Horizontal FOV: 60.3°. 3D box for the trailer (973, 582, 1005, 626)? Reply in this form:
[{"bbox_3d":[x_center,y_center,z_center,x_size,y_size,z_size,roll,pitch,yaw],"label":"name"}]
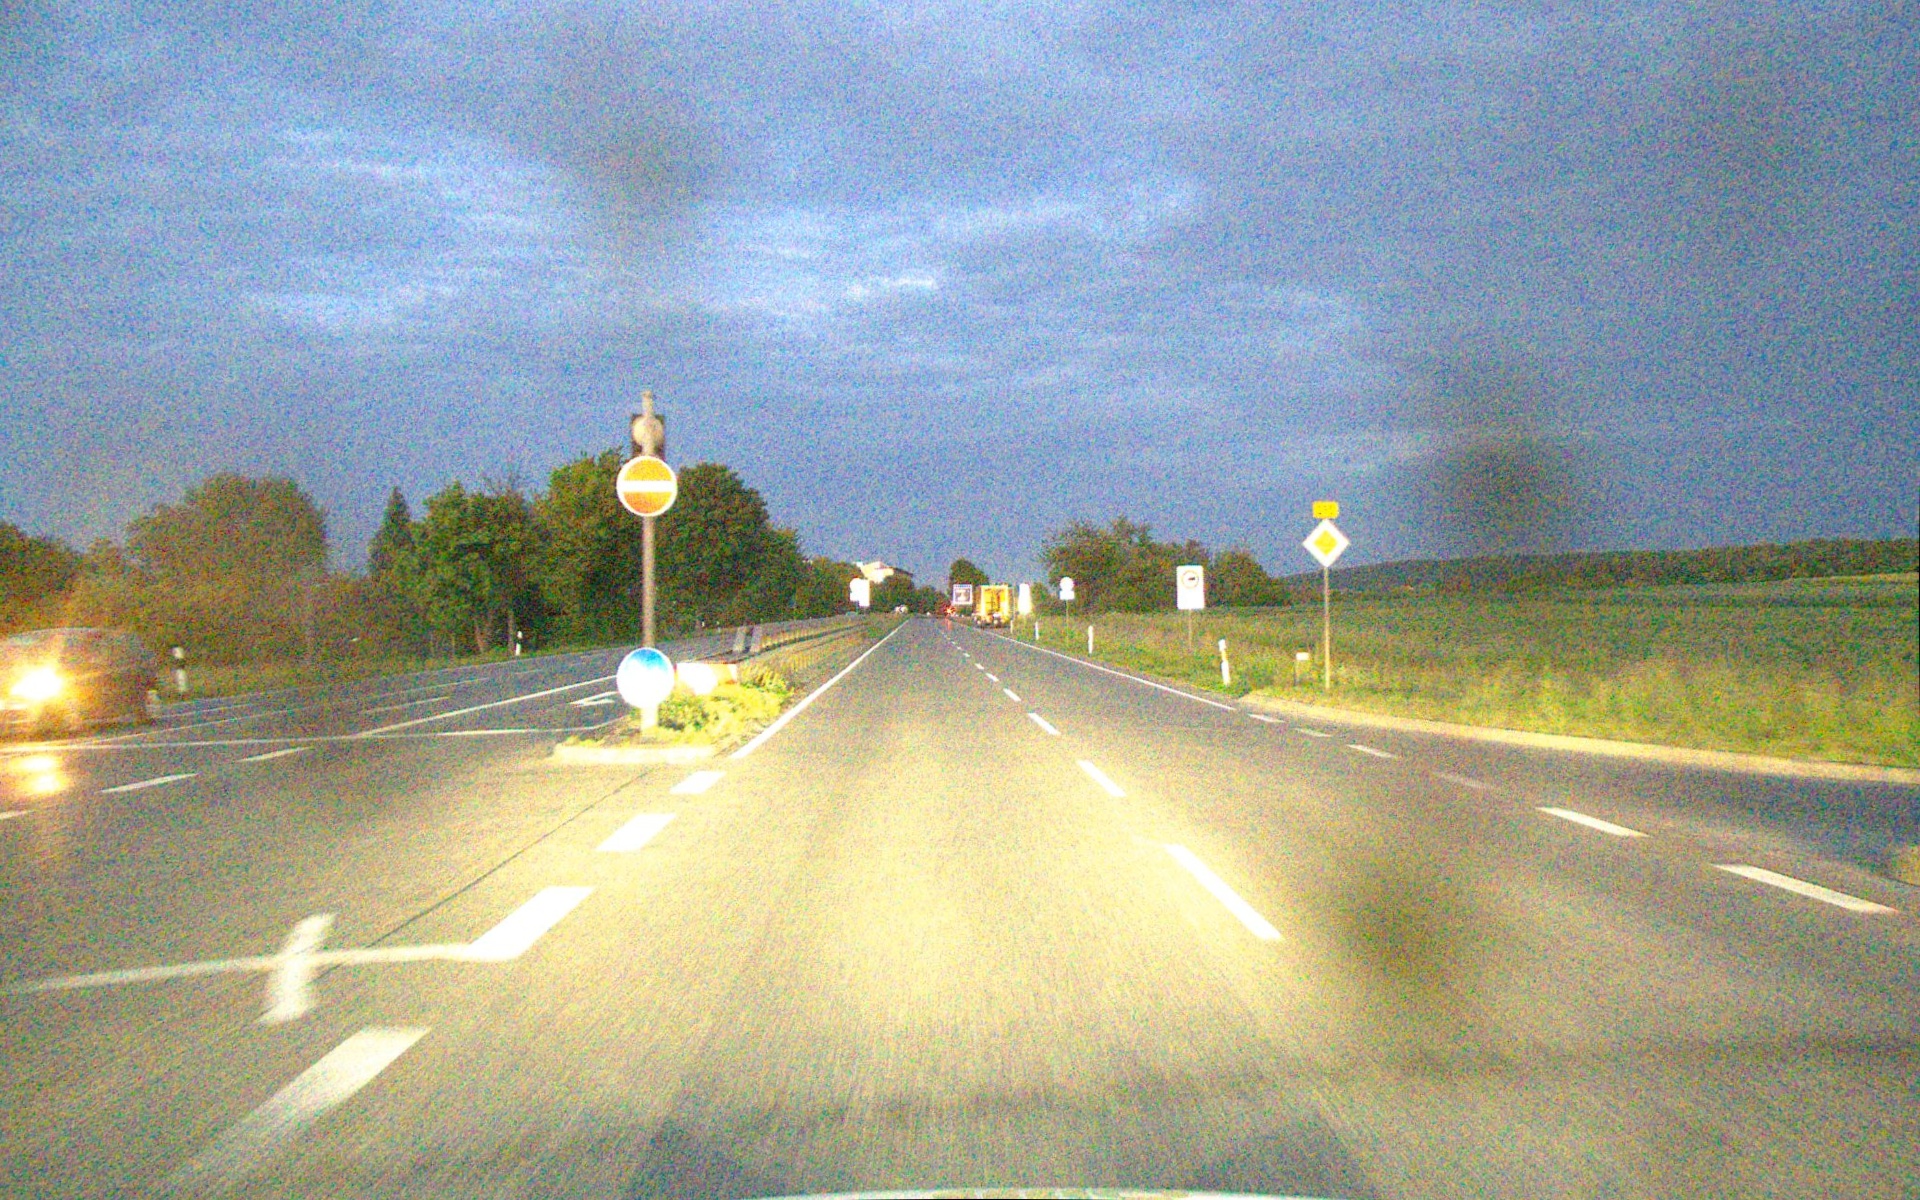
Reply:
[{"bbox_3d":[2.792,0.377,164.276,2.569,4.176,12.932,0,0,-1],"label":"trailer"}]

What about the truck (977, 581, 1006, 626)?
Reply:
[{"bbox_3d":[2.954,0.342,156.958,2.527,4.142,6.129,1,0,-1],"label":"truck"}]

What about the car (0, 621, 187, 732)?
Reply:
[{"bbox_3d":[-12.794,1.032,23.713,1.619,1.409,4.028,1,-1,-2],"label":"car"}]
